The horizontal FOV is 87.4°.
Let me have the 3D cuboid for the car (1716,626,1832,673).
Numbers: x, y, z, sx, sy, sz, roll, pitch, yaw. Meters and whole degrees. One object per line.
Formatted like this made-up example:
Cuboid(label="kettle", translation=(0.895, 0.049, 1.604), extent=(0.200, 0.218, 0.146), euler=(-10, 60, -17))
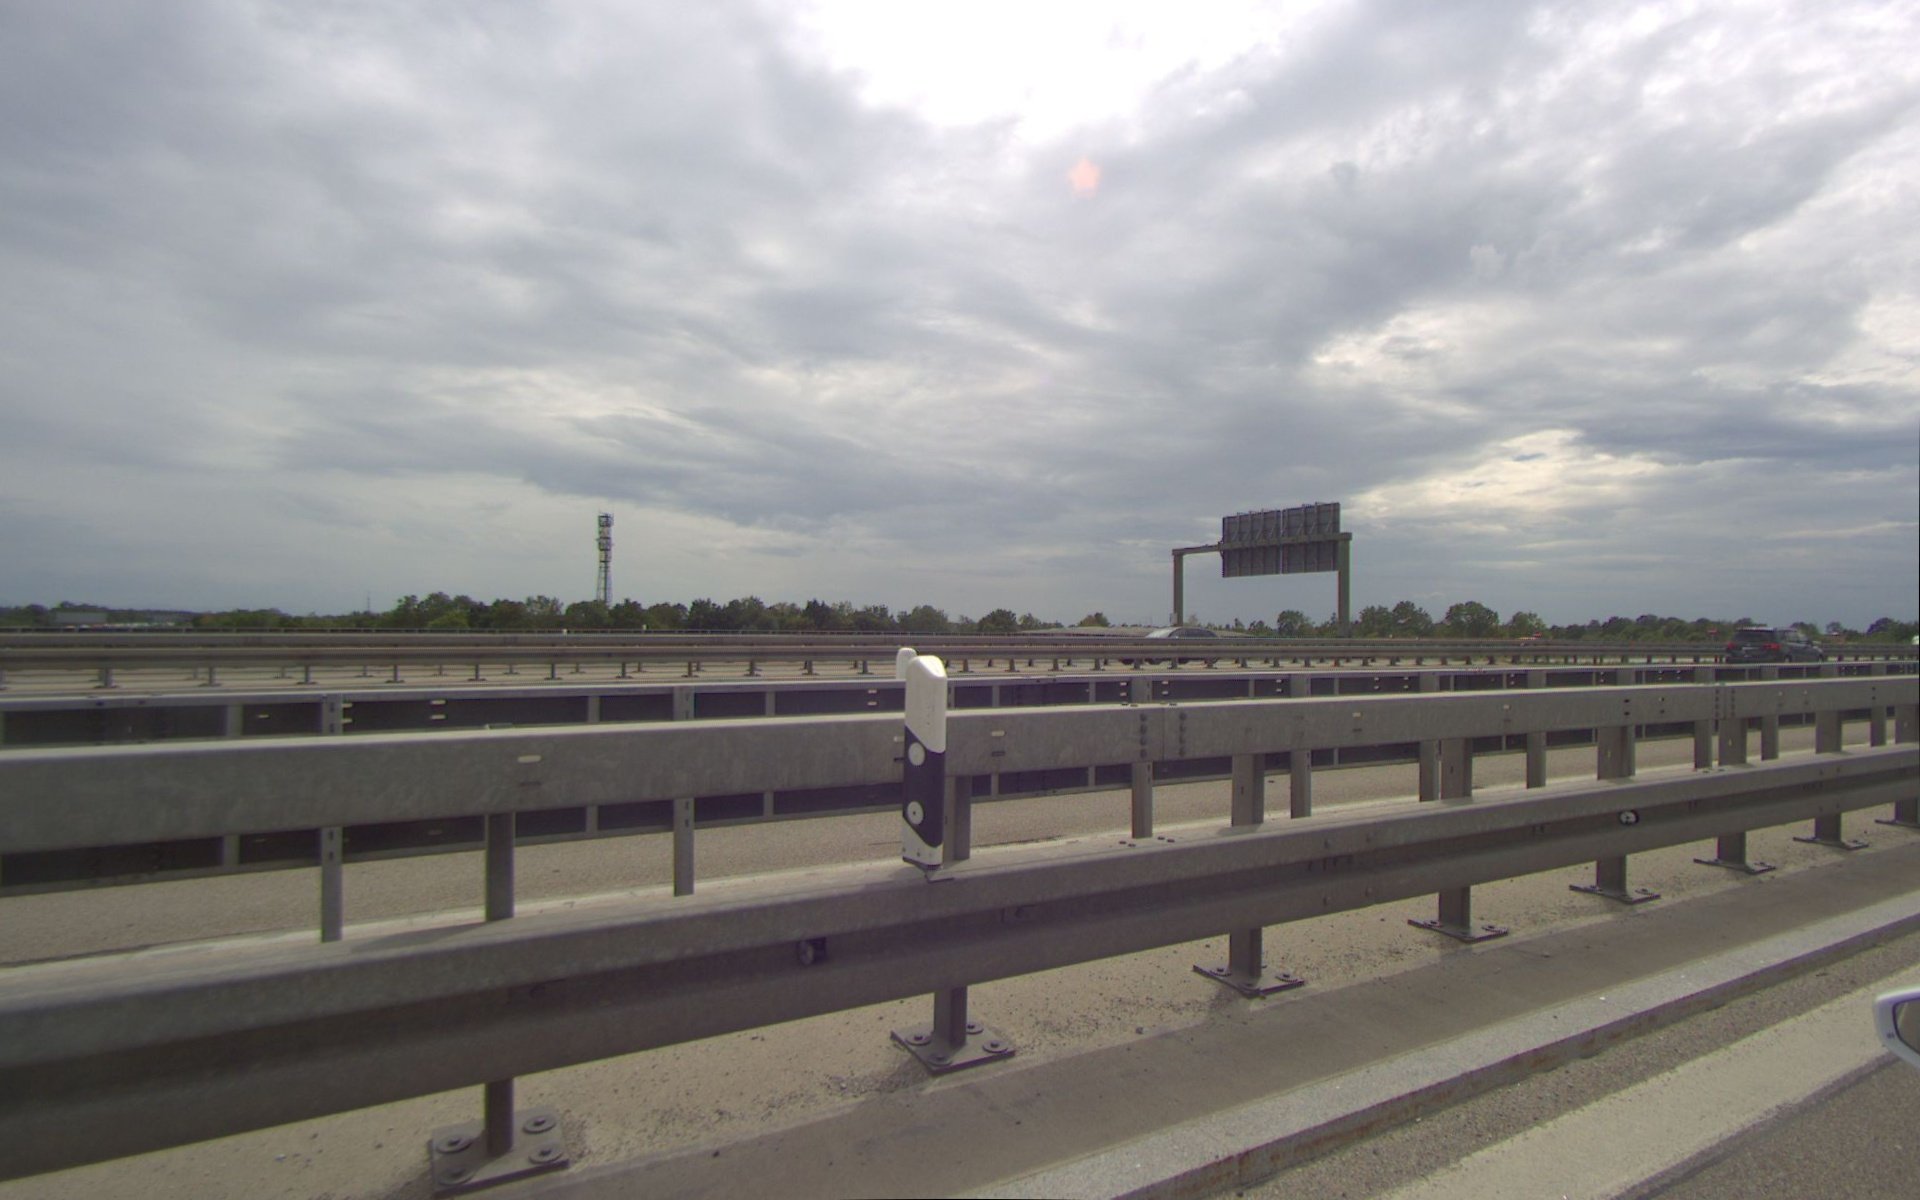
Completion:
Cuboid(label="car", translation=(30.077, 1.790, 37.074), extent=(4.561, 1.567, 1.871), euler=(1, 0, -31))
